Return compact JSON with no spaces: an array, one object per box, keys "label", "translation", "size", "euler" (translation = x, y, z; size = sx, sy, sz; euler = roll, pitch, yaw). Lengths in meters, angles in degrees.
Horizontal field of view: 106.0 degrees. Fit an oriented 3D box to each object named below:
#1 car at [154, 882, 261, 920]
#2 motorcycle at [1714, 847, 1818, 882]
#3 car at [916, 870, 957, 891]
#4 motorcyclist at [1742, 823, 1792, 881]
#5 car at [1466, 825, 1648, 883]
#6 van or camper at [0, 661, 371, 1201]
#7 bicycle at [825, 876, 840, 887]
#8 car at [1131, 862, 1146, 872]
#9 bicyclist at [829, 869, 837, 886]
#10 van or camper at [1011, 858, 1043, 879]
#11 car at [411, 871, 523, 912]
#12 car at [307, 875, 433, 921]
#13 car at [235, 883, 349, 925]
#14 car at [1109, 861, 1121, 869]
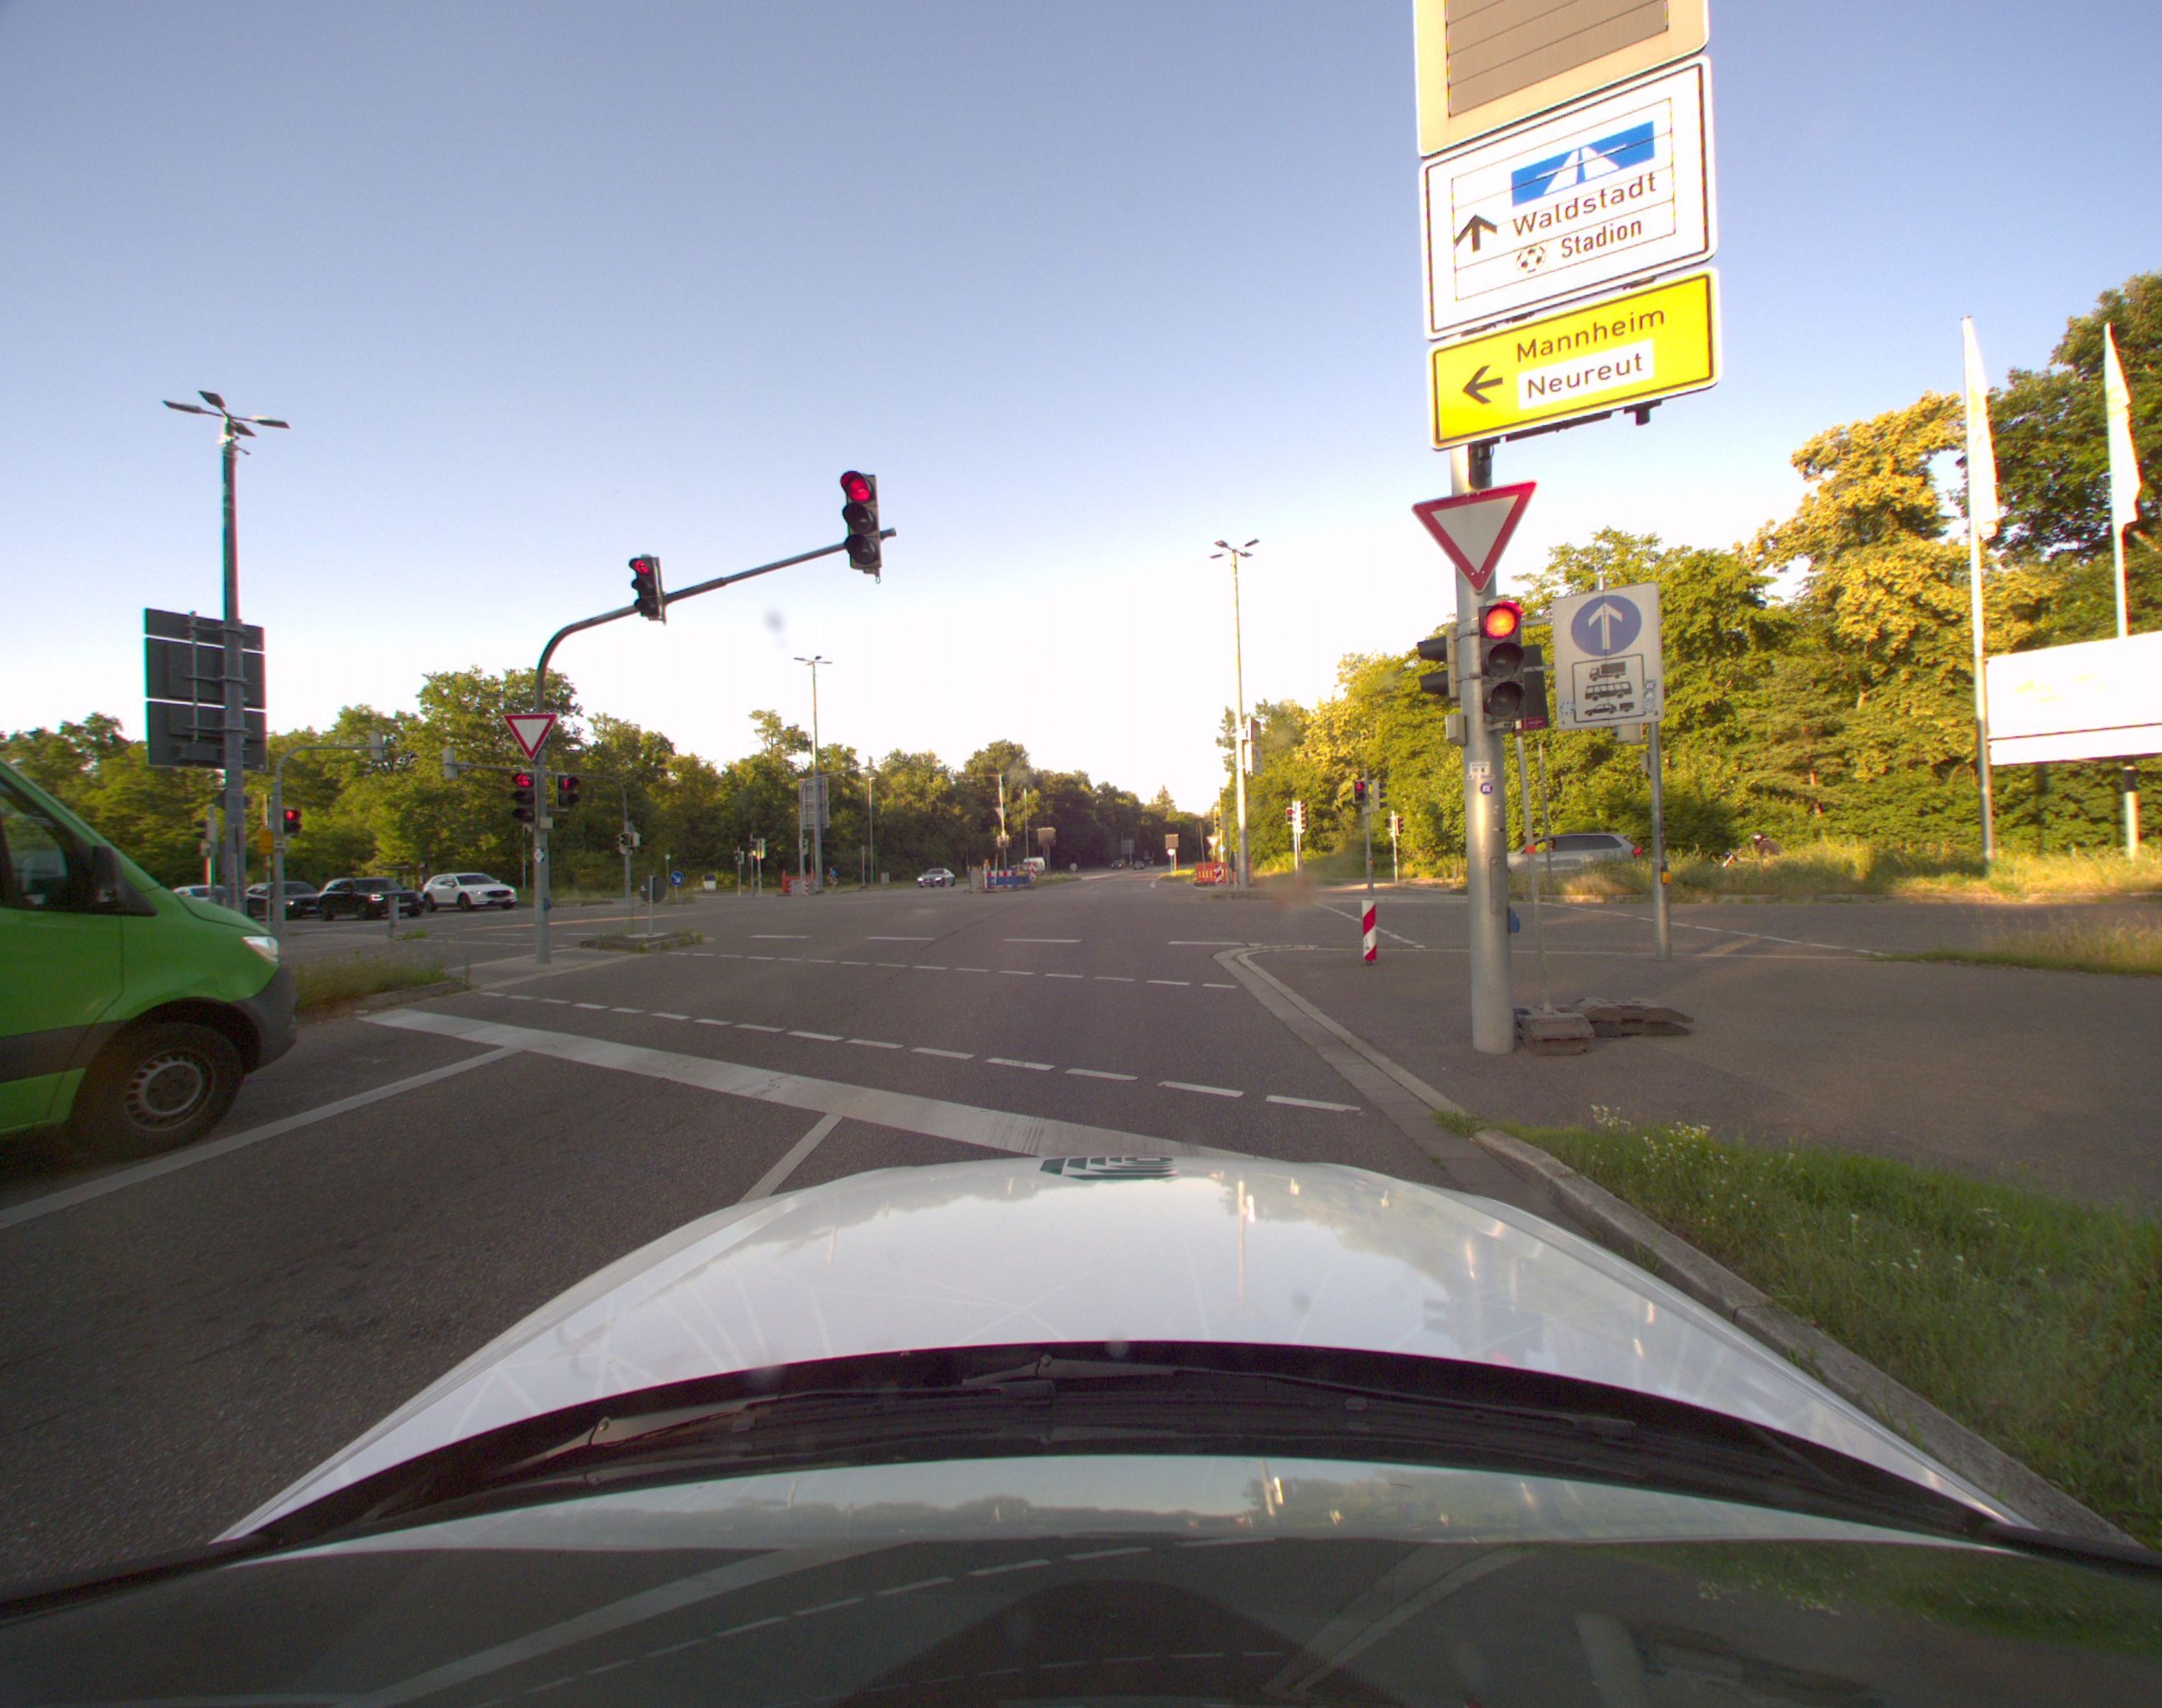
[{"label":"car","translation":[-41.257,2.210,38.470],"size":[4.207,1.640,2.011],"euler":[-2,0,21]},{"label":"motorcycle","translation":[19.292,0.298,22.999],"size":[2.125,0.910,0.666],"euler":[-2,0,23]},{"label":"car","translation":[-10.807,1.965,61.229],"size":[1.882,1.441,4.507],"euler":[-2,0,6]},{"label":"motorcyclist","translation":[19.333,-0.045,22.975],"size":[0.878,1.595,0.658],"euler":[-2,-1,23]},{"label":"car","translation":[15.030,0.026,26.073],"size":[4.773,1.598,2.011],"euler":[-2,0,23]},{"label":"van or camper","translation":[-5.859,0.365,2.556],"size":[1.987,2.421,5.896],"euler":[-2,0,1]},{"label":"bicycle","translation":[-20.758,2.287,68.139],"size":[1.112,0.825,0.408],"euler":[-2,-1,-39]},{"label":"car","translation":[10.734,2.395,151.502],"size":[1.979,1.640,4.016],"euler":[-3,0,14]},{"label":"bicyclist","translation":[-20.744,2.001,68.165],"size":[0.522,1.387,0.402],"euler":[-1,-1,-40]},{"label":"van or camper","translation":[-7.305,1.860,110.611],"size":[2.869,2.652,7.137],"euler":[-2,0,7]},{"label":"car","translation":[-26.760,1.641,35.494],"size":[4.206,1.640,2.011],"euler":[-2,0,23]},{"label":"car","translation":[-27.554,1.698,31.554],"size":[4.206,1.640,2.011],"euler":[-2,0,23]},{"label":"car","translation":[-33.925,2.154,35.029],"size":[4.205,1.640,2.011],"euler":[-2,0,23]},{"label":"car","translation":[7.069,2.314,170.276],"size":[1.981,1.640,4.011],"euler":[-2,0,10]}]
